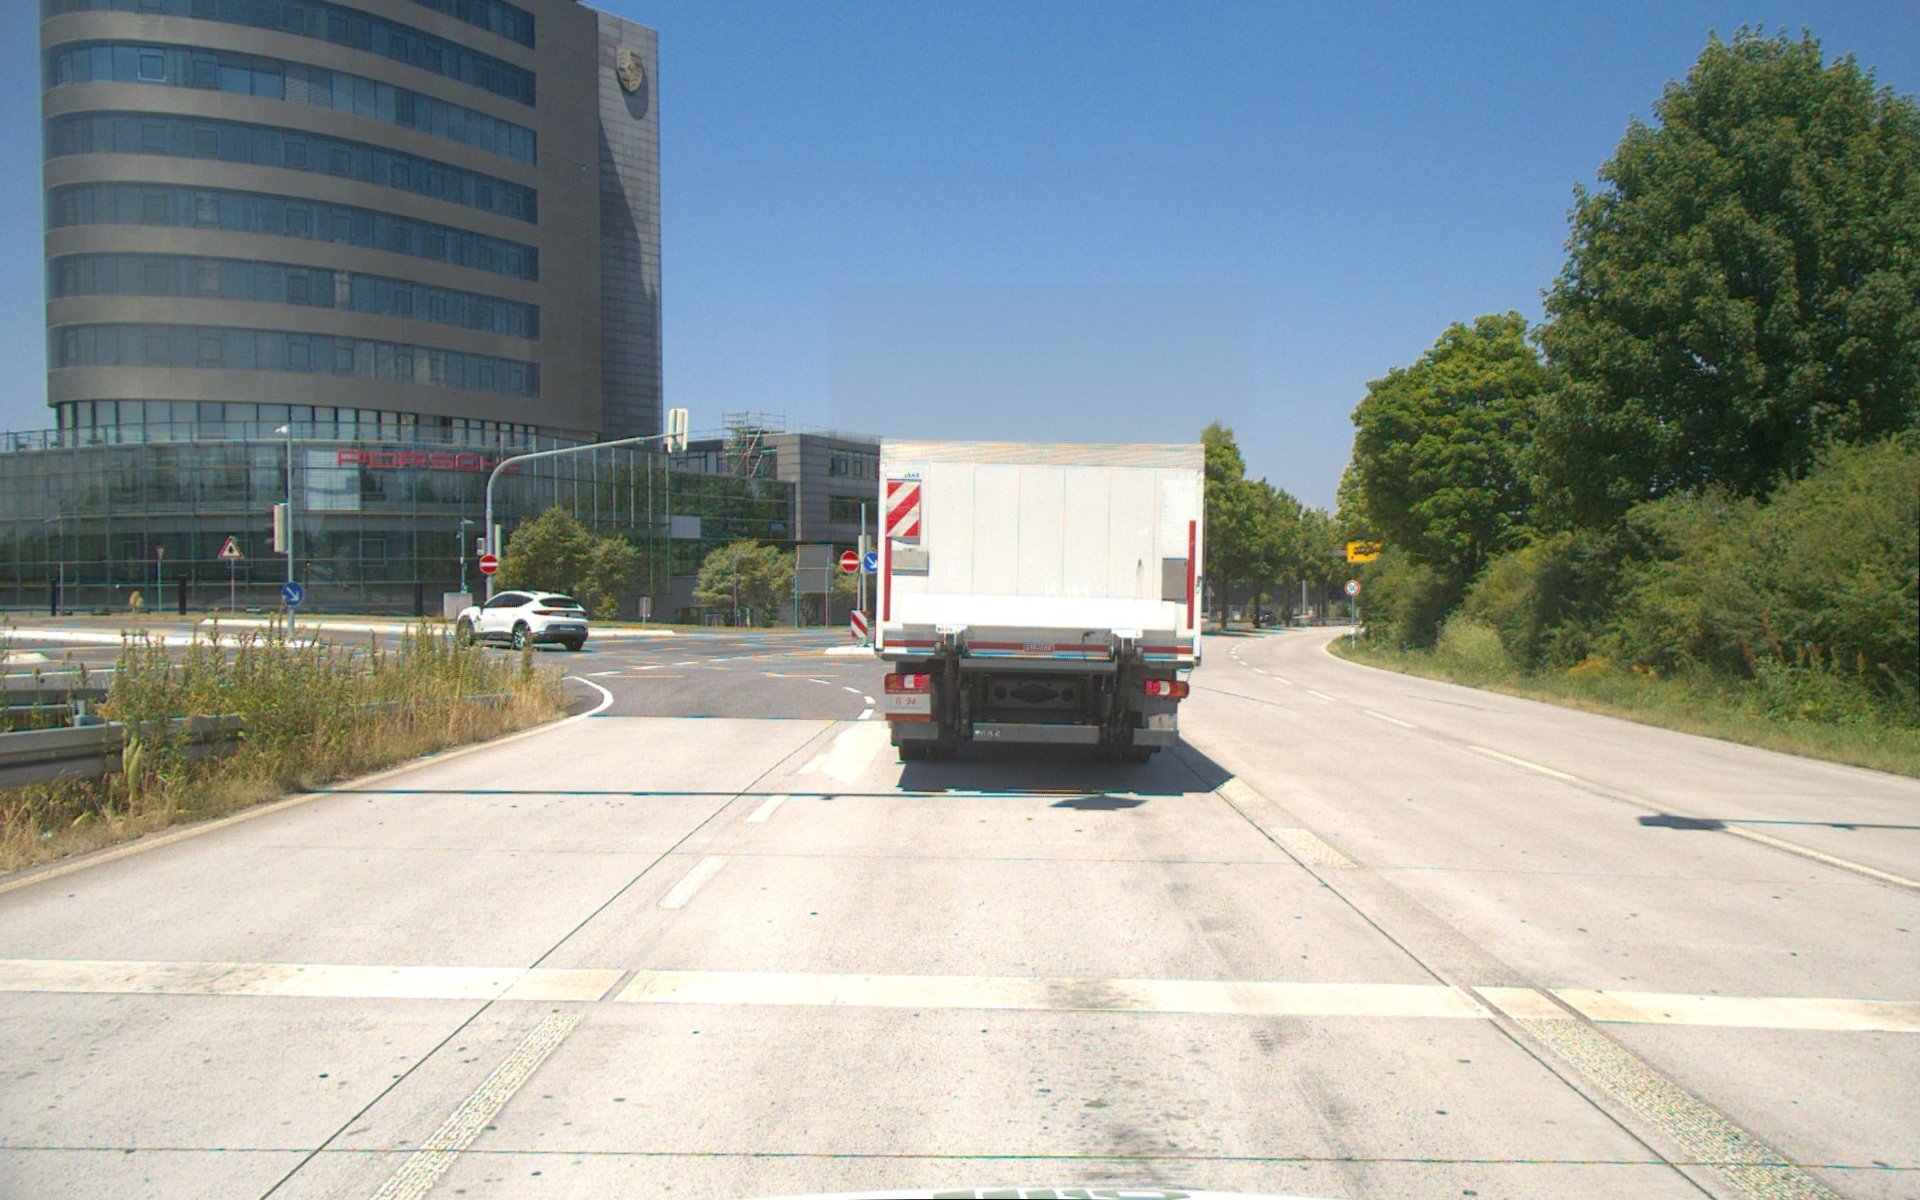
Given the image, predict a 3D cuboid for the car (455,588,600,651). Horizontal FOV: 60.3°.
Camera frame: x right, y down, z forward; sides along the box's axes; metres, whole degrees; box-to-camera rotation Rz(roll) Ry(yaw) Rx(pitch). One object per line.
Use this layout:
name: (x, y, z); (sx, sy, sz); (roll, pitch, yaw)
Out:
car: (-11.456, 0.492, 43.723); (3.927, 1.584, 1.798); (1, -1, 41)

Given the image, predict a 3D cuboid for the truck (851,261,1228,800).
truck: (0.517, -0.485, 16.963); (2.713, 3.927, 9.368); (1, 0, -1)
